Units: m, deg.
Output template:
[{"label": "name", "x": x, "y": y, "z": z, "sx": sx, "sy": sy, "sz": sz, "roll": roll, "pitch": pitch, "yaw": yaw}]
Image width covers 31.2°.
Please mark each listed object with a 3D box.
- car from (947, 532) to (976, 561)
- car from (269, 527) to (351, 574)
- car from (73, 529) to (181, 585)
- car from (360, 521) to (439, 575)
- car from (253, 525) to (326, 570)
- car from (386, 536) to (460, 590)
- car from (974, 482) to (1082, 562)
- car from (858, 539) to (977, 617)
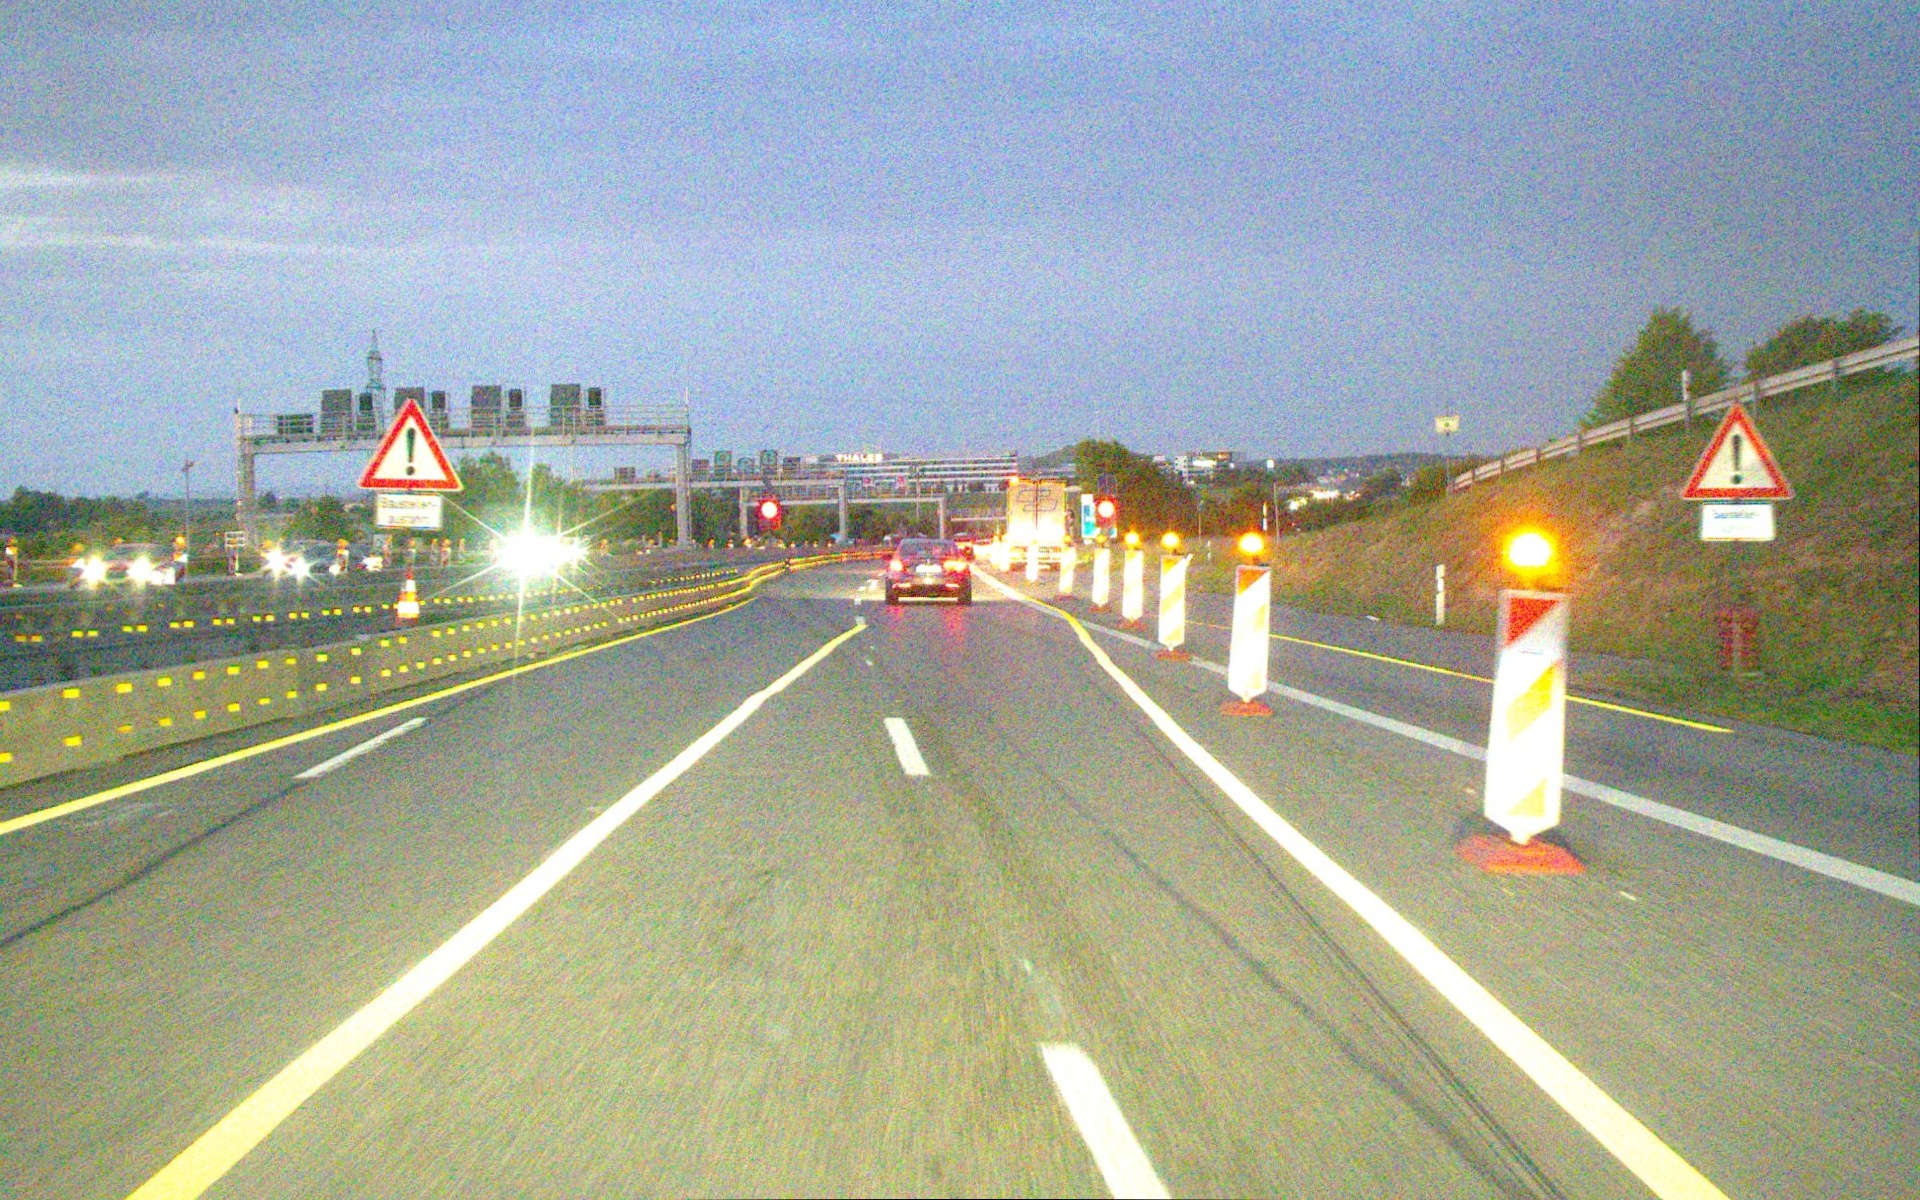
[{"label": "car", "x": 0.084, "y": -3.932, "z": 252.626, "sx": 1.993, "sy": 2.007, "sz": 4.000, "roll": 1, "pitch": 1, "yaw": -1}, {"label": "car", "x": -20.993, "y": -1.612, "z": 111.231, "sx": 1.763, "sy": 1.459, "sz": 4.690, "roll": 1, "pitch": 1, "yaw": 0}, {"label": "car", "x": -22.713, "y": -1.186, "z": 93.855, "sx": 1.993, "sy": 1.459, "sz": 4.135, "roll": 1, "pitch": 1, "yaw": -1}, {"label": "car", "x": -18.595, "y": -1.736, "z": 114.220, "sx": 1.993, "sy": 1.708, "sz": 4.000, "roll": 1, "pitch": 1, "yaw": -1}, {"label": "car", "x": -24.017, "y": -1.888, "z": 123.254, "sx": 1.763, "sy": 1.543, "sz": 4.425, "roll": 1, "pitch": 1, "yaw": 0}, {"label": "car", "x": -18.909, "y": -1.302, "z": 121.134, "sx": 1.993, "sy": 1.821, "sz": 4.000, "roll": 1, "pitch": 1, "yaw": -1}, {"label": "car", "x": 2.972, "y": -3.463, "z": 153.478, "sx": 3.604, "sy": 3.384, "sz": 8.016, "roll": 1, "pitch": 1, "yaw": -7}, {"label": "car", "x": -0.968, "y": -0.506, "z": 75.263, "sx": 2.265, "sy": 1.616, "sz": 4.001, "roll": 1, "pitch": 1, "yaw": -5}]
